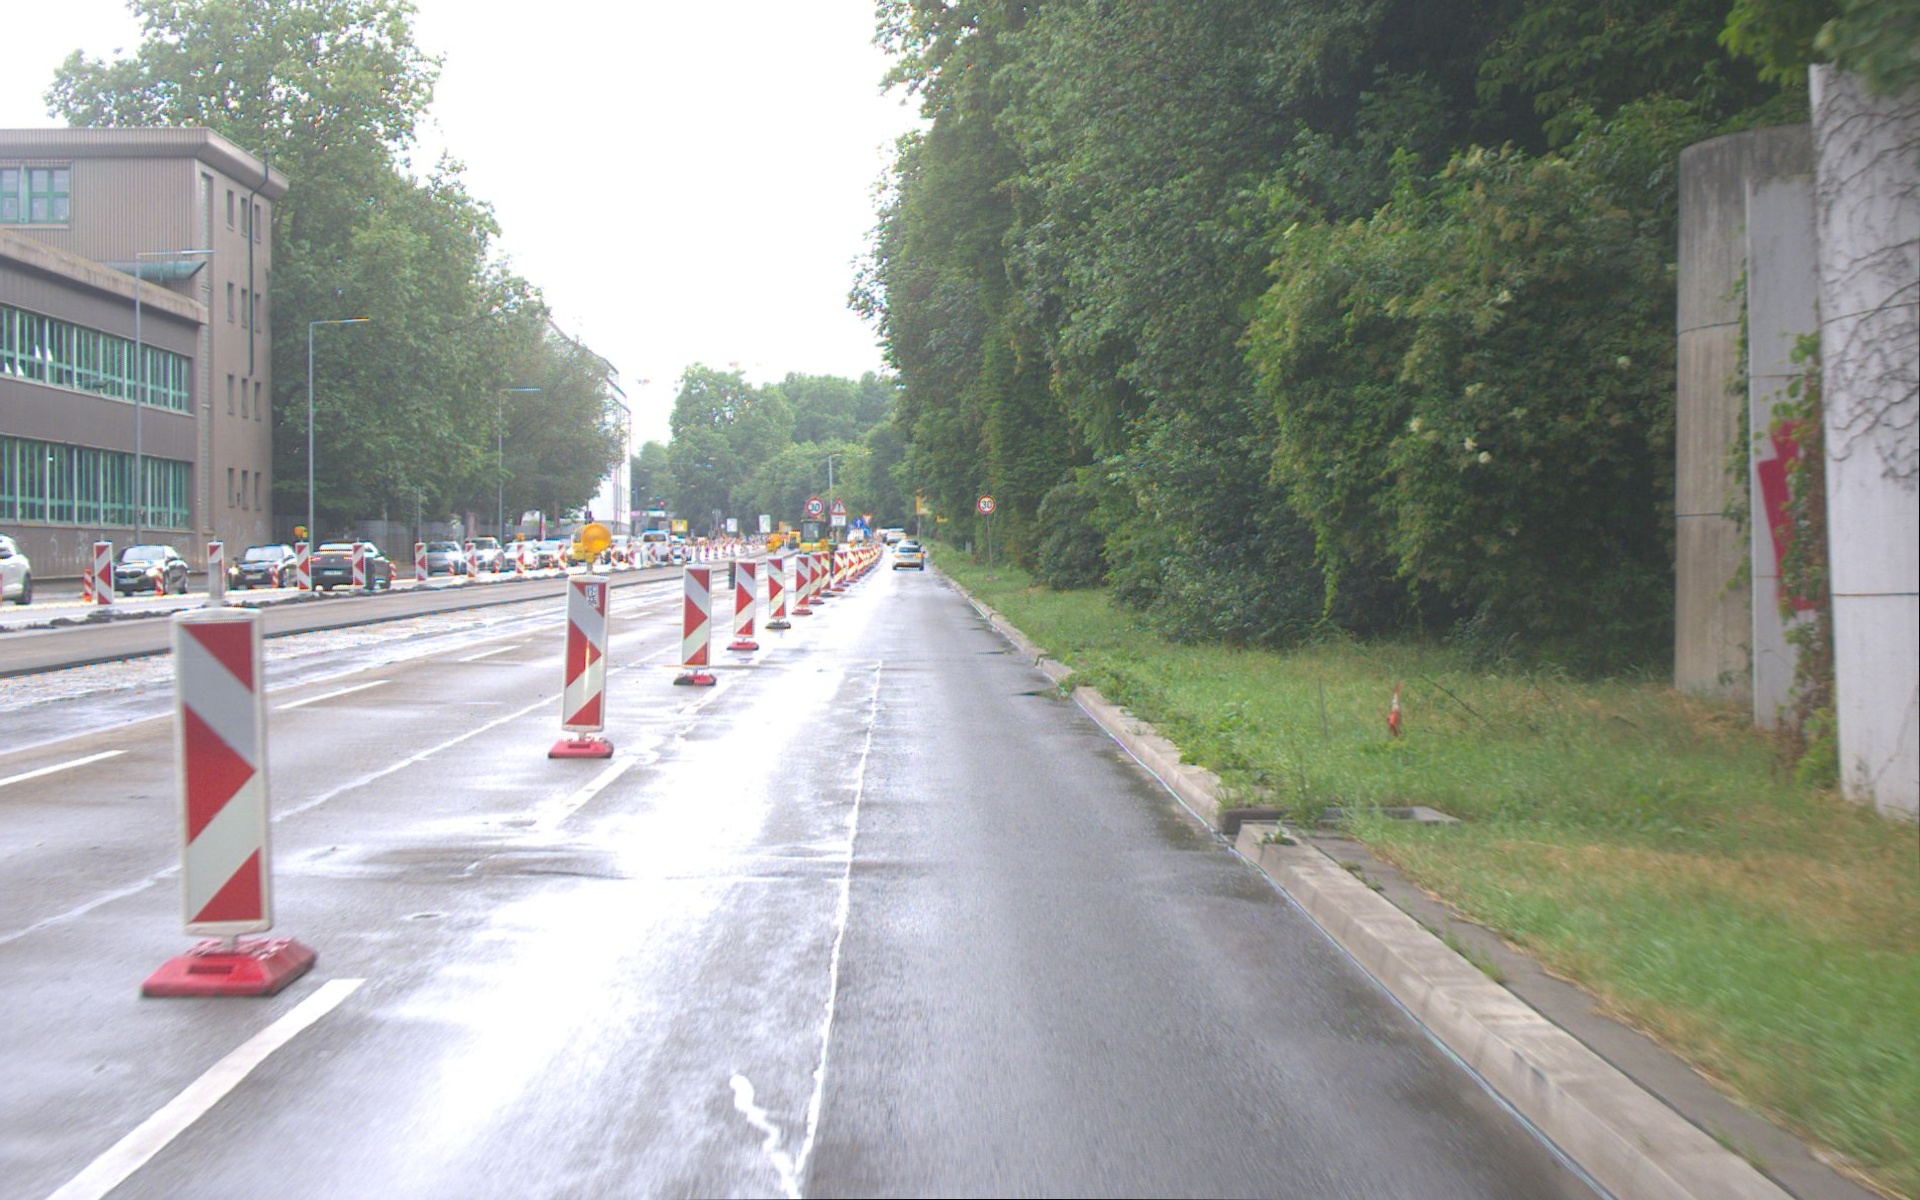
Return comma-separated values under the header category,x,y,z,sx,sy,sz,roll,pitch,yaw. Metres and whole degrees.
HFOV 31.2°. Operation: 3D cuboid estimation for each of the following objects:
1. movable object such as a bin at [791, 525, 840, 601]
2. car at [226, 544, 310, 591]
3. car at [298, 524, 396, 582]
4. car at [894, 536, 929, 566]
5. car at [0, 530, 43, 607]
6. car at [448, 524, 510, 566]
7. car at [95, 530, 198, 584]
category,x,y,z,sx,sy,sz,roll,pitch,yaw
movable object such as a bin,-6.588,-1.683,156.906,1.993,3.356,5.982,1,0,-1
car,-22.568,-1.064,112.262,2.046,1.449,4.765,1,1,-3
car,-16.598,-1.266,93.266,1.993,1.514,4.000,1,1,-1
car,-2.792,-2.827,198.762,1.993,1.667,4.000,1,1,-1
car,-19.843,-0.646,68.628,1.993,1.508,4.266,1,1,-1
car,-20.867,-2.391,149.313,1.989,1.762,4.674,1,1,1
car,-22.648,-1.212,95.826,1.993,1.424,4.265,1,1,-2
